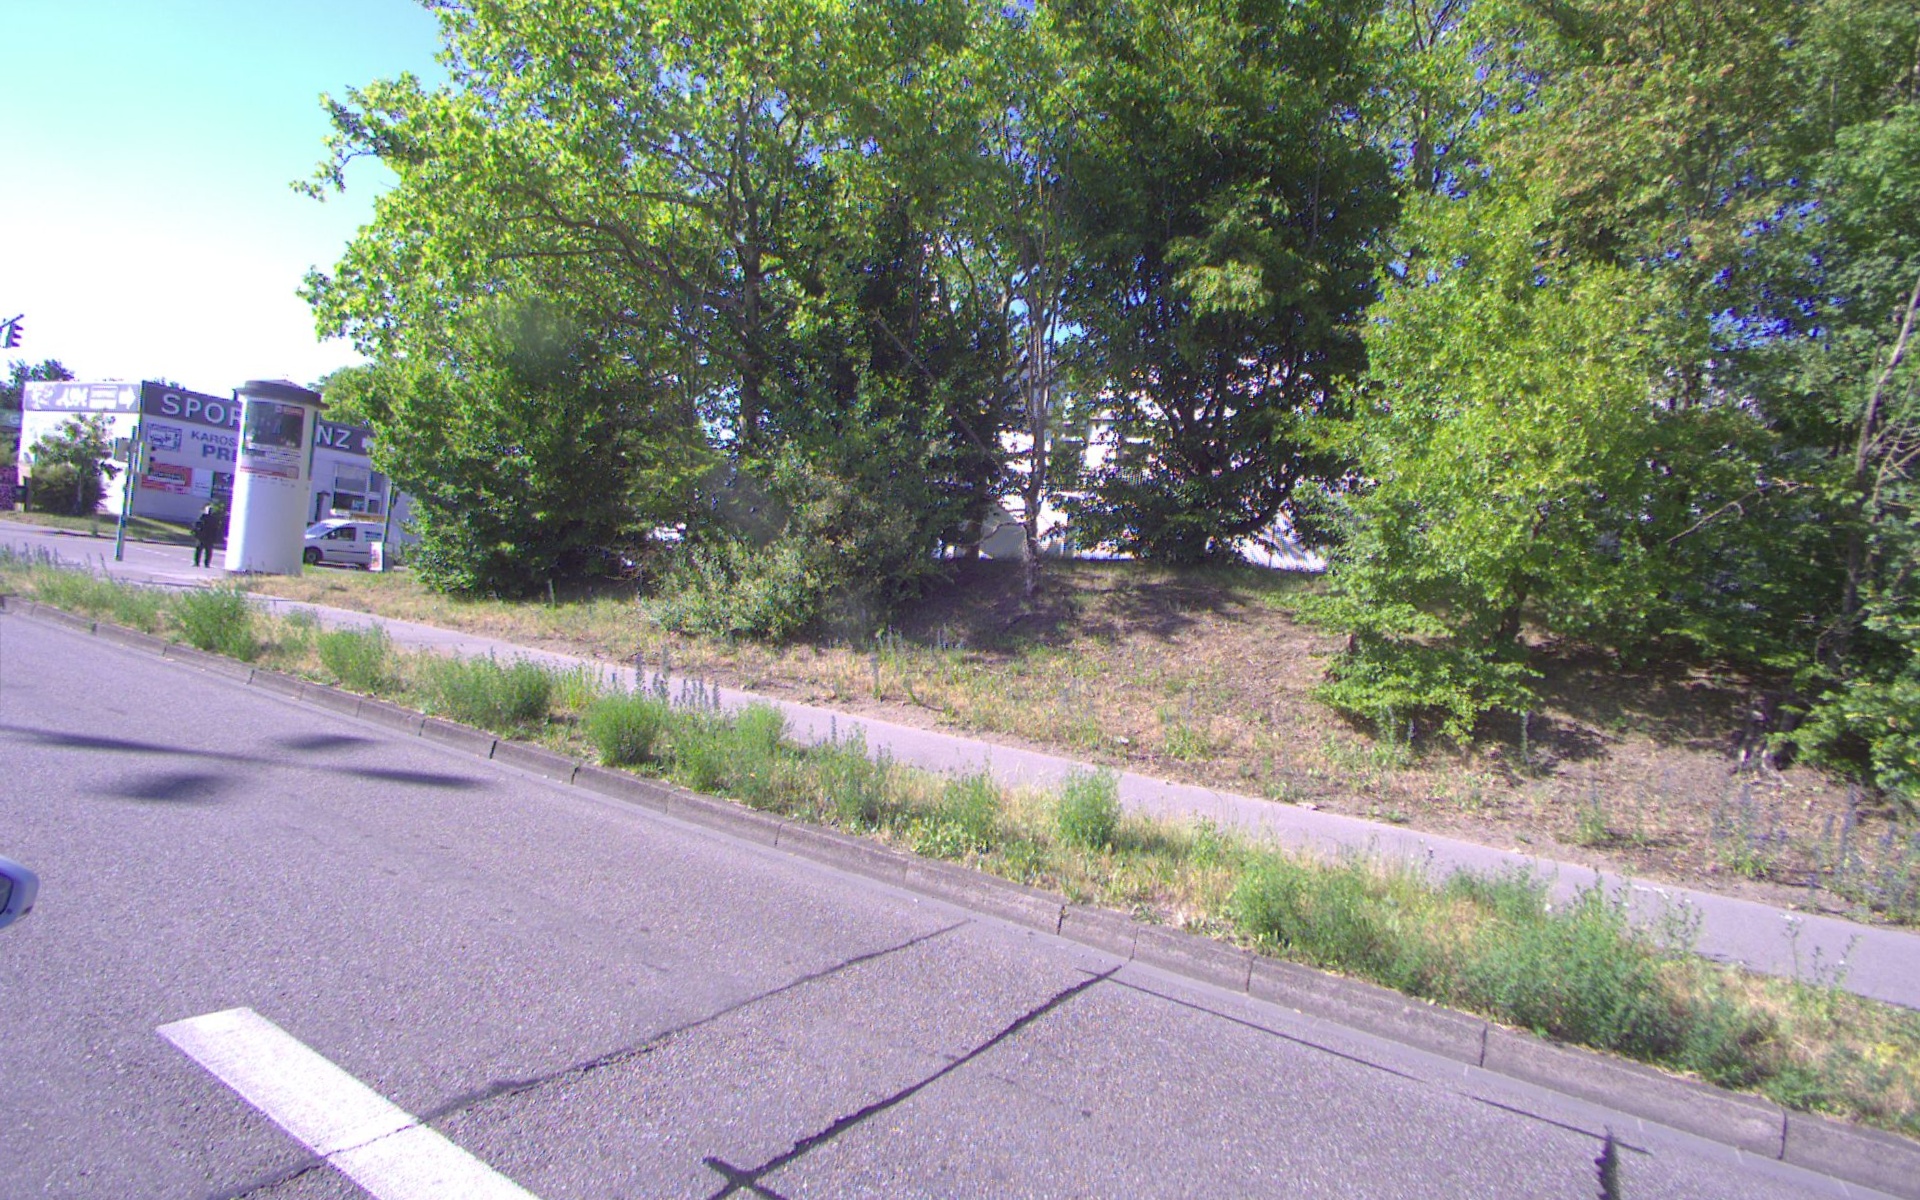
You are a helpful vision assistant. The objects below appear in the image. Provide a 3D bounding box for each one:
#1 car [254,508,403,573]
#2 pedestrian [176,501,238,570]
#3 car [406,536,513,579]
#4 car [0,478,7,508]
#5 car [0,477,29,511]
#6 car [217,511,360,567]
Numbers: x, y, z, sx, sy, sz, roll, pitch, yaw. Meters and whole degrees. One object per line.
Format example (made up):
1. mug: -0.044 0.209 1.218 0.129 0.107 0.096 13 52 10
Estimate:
1. car: -23.870 -2.225 38.197 1.735 1.824 4.387 9 1 30
2. pedestrian: -21.016 -1.799 28.085 0.923 1.755 0.927 6 -1 31
3. car: -23.030 -1.943 46.418 1.752 1.509 4.046 7 1 30
4. car: -49.242 -5.489 48.468 1.828 1.472 4.490 7 1 33
5. car: -46.891 -5.222 47.099 1.828 1.472 4.490 7 1 33
6. car: -26.623 -2.376 40.018 1.735 1.568 4.292 9 1 30
